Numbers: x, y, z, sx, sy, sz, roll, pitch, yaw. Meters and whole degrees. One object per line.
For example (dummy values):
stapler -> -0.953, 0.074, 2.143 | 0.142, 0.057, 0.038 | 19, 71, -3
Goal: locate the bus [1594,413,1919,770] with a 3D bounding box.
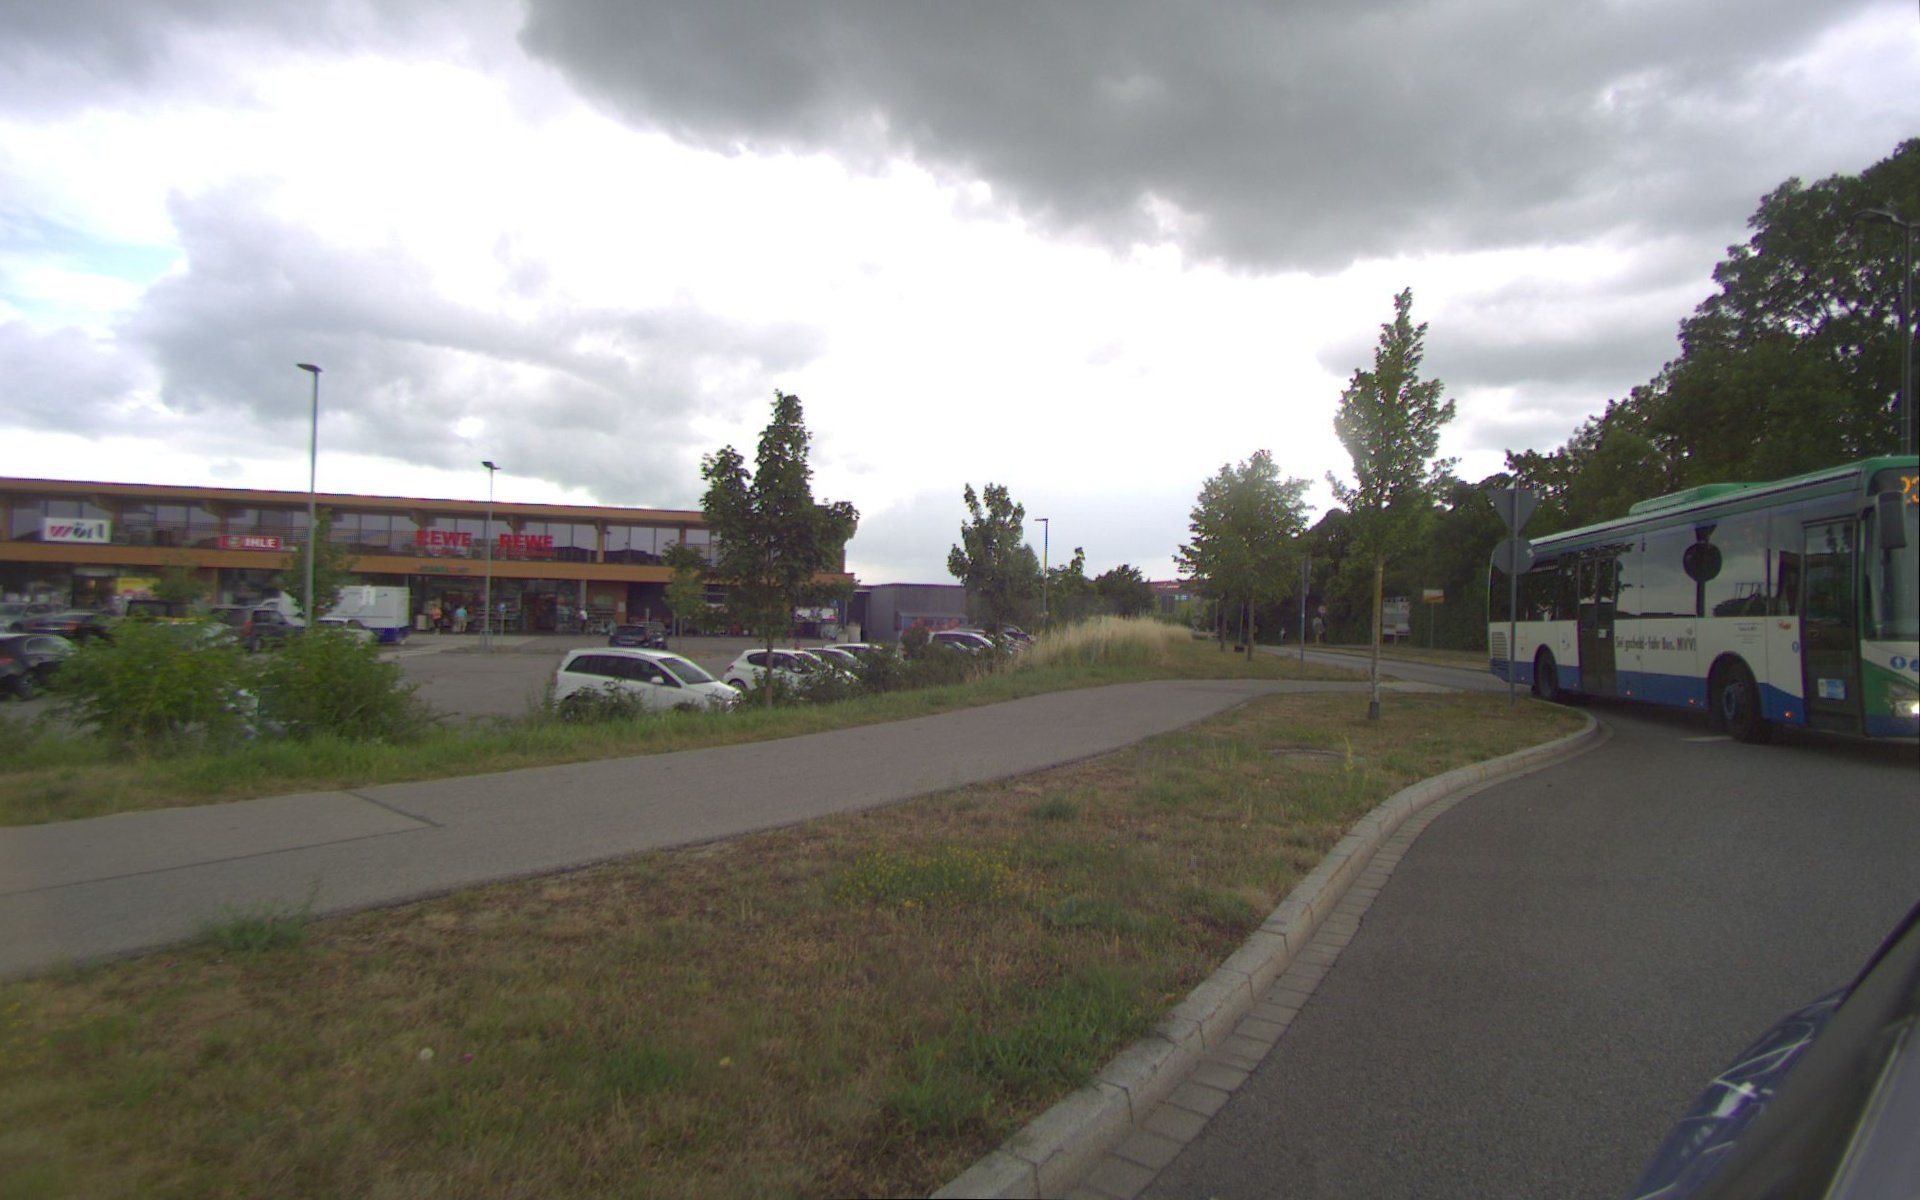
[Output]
bus -> 10.558, -0.121, 12.320 | 2.485, 3.299, 6.527 | -2, 0, 11

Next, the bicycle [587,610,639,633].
bicycle -> -20.620, 1.267, 60.151 | 2.809, 1.325, 0.981 | 1, -1, -13

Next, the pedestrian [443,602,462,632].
pedestrian -> -28.727, 0.950, 57.259 | 0.737, 1.678, 0.804 | 2, -1, -40

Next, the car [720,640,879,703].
car -> -4.349, 1.937, 27.805 | 3.932, 1.527, 1.996 | 0, 0, 7

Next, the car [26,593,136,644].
car -> -34.337, 0.691, 39.675 | 1.735, 1.878, 4.008 | 1, 0, -17

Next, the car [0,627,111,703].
car -> -21.226, 1.402, 22.745 | 1.798, 1.416, 4.008 | 1, 0, -17

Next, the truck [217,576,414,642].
truck -> -29.745, 0.429, 47.064 | 7.104, 2.843, 2.983 | 1, 0, -17

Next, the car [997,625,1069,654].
car -> 4.225, 2.257, 58.579 | 3.840, 1.482, 1.686 | 1, 0, 19

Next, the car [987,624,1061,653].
car -> 3.595, 2.151, 57.016 | 3.840, 1.482, 1.686 | 1, 0, 19

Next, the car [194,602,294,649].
car -> -28.196, 0.975, 40.002 | 1.813, 1.747, 4.128 | 0, 0, -13

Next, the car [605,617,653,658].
car -> -14.200, 1.571, 43.581 | 1.679, 1.588, 3.677 | 1, 0, -14

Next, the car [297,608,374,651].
car -> -25.363, 1.167, 41.218 | 1.695, 1.549, 4.008 | 1, 0, -18

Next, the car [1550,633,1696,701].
car -> 17.343, 1.702, 26.664 | 1.614, 1.524, 3.578 | 1, 0, 3

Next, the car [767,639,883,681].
car -> -4.499, 1.970, 33.859 | 3.625, 1.311, 1.408 | 0, -1, 17

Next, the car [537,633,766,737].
car -> -6.609, 1.756, 21.765 | 4.381, 1.693, 1.792 | 4, 1, 15

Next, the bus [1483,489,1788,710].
bus -> 11.690, 0.014, 18.174 | 2.485, 3.299, 5.443 | -2, 0, 11

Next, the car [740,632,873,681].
car -> -4.514, 1.640, 30.013 | 3.611, 1.311, 1.714 | 0, 0, 6

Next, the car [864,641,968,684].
car -> -1.779, 2.495, 41.087 | 3.840, 1.482, 1.686 | 1, 0, 19

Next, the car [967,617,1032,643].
car -> 2.427, 1.843, 62.025 | 3.928, 1.462, 1.882 | 1, 0, 4

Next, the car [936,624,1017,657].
car -> 0.846, 2.051, 51.585 | 3.840, 1.482, 1.686 | 1, 0, 19

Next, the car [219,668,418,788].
car -> -9.862, 1.851, 15.456 | 3.716, 1.390, 1.557 | 0, -1, 41

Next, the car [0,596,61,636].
car -> -40.893, 0.668, 43.419 | 1.730, 1.633, 4.234 | 1, -1, -15

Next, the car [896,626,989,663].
car -> -0.763, 1.963, 45.590 | 3.840, 1.482, 1.686 | 1, 0, 19

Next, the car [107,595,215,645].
car -> -31.504, 0.758, 40.063 | 1.735, 1.878, 4.007 | 1, -1, -12

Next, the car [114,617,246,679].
car -> -22.337, 1.327, 29.162 | 1.695, 1.573, 4.008 | 2, 0, -17

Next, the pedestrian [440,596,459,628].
pedestrian -> -32.312, 0.759, 64.098 | 0.912, 2.039, 0.807 | 1, -1, -20
